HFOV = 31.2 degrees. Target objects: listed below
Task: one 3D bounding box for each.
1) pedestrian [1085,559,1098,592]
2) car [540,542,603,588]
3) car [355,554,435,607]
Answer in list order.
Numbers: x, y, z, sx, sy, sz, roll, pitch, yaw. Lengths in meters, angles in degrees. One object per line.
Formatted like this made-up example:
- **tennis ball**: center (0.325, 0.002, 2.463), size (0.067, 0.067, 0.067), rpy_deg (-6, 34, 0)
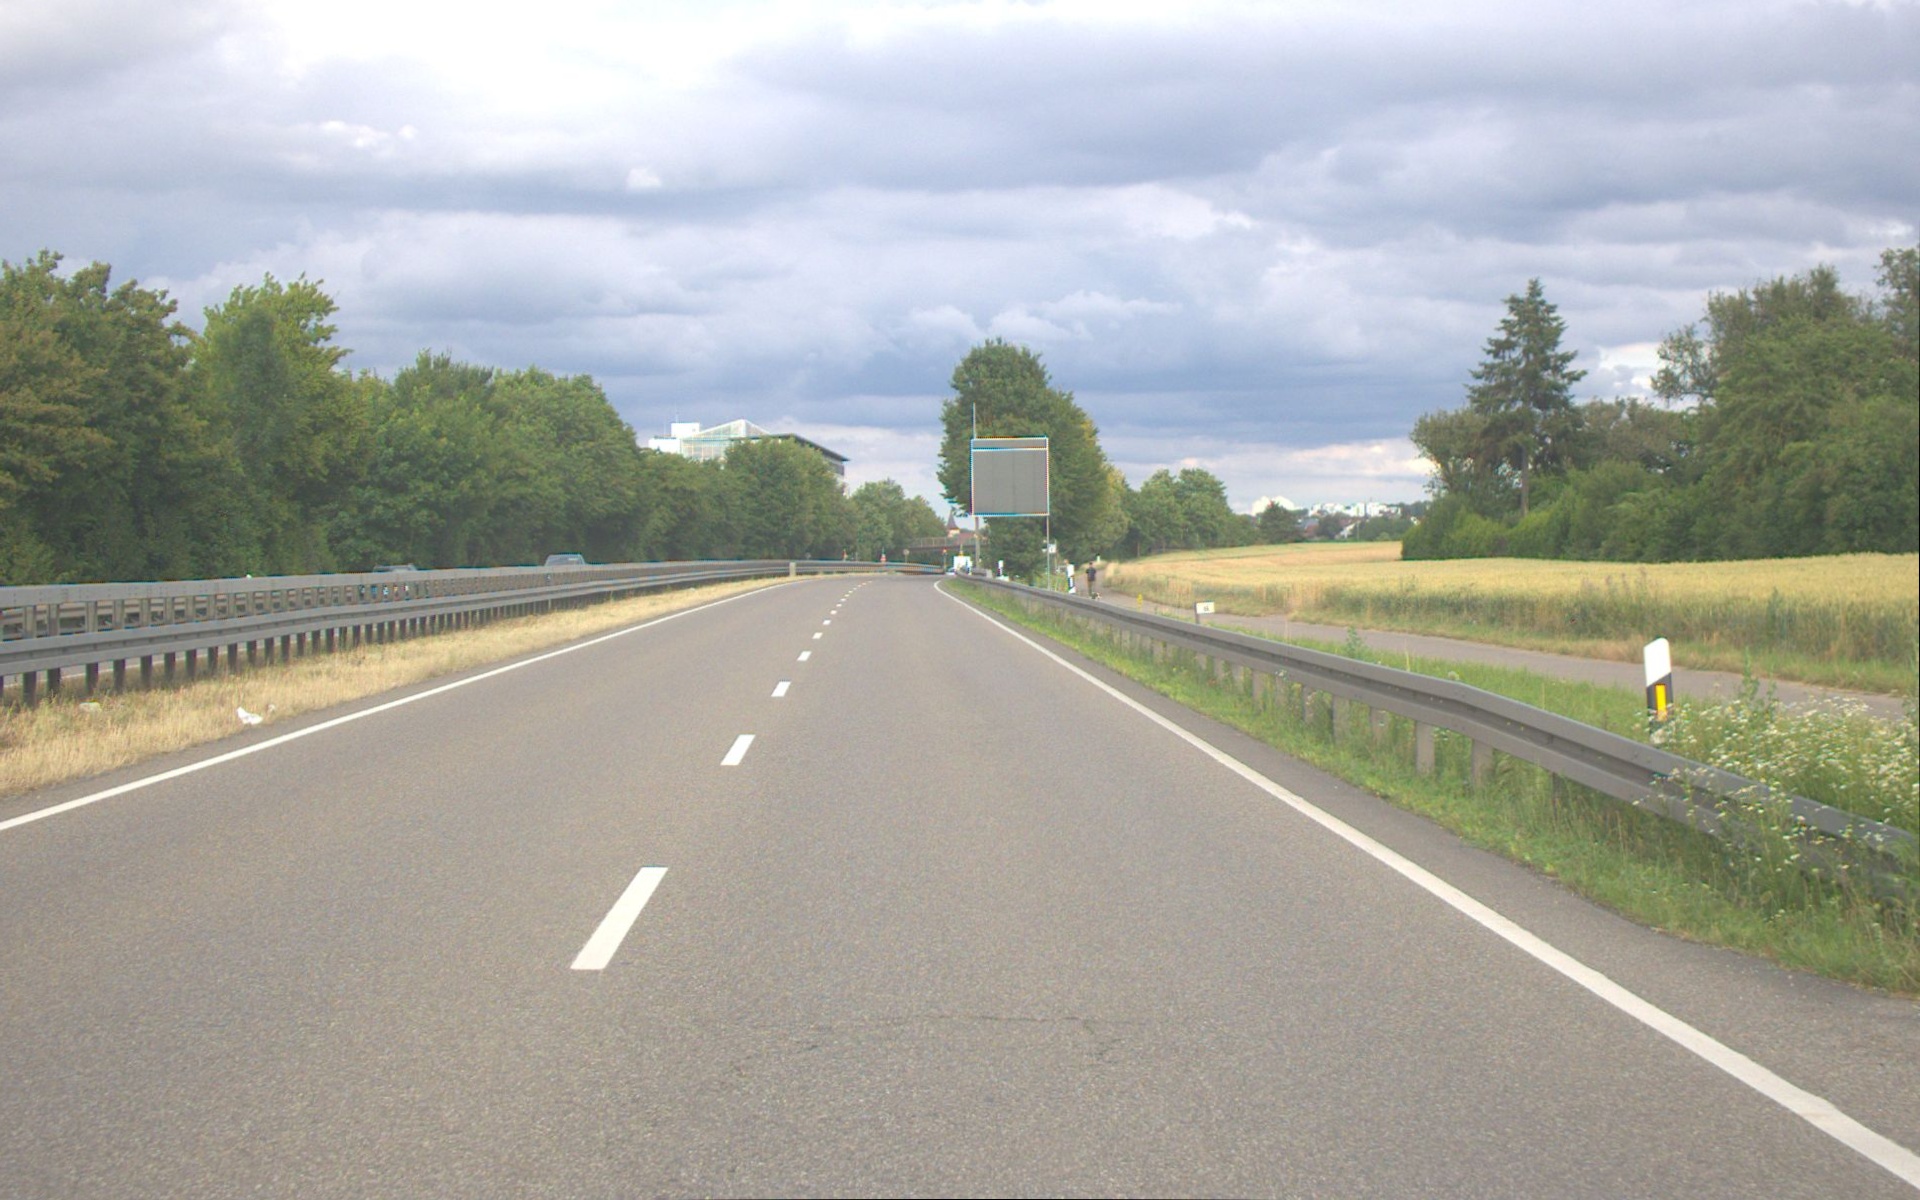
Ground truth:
- **pedestrian**: center (6.719, -1.243, 175.762), size (0.601, 1.660, 0.543), rpy_deg (1, 0, -3)
- **car**: center (-14.629, -1.333, 129.630), size (1.797, 1.620, 4.483), rpy_deg (-2, 1, 0)
- **car**: center (-18.393, -0.647, 112.109), size (1.797, 1.620, 4.483), rpy_deg (-2, 1, 0)
